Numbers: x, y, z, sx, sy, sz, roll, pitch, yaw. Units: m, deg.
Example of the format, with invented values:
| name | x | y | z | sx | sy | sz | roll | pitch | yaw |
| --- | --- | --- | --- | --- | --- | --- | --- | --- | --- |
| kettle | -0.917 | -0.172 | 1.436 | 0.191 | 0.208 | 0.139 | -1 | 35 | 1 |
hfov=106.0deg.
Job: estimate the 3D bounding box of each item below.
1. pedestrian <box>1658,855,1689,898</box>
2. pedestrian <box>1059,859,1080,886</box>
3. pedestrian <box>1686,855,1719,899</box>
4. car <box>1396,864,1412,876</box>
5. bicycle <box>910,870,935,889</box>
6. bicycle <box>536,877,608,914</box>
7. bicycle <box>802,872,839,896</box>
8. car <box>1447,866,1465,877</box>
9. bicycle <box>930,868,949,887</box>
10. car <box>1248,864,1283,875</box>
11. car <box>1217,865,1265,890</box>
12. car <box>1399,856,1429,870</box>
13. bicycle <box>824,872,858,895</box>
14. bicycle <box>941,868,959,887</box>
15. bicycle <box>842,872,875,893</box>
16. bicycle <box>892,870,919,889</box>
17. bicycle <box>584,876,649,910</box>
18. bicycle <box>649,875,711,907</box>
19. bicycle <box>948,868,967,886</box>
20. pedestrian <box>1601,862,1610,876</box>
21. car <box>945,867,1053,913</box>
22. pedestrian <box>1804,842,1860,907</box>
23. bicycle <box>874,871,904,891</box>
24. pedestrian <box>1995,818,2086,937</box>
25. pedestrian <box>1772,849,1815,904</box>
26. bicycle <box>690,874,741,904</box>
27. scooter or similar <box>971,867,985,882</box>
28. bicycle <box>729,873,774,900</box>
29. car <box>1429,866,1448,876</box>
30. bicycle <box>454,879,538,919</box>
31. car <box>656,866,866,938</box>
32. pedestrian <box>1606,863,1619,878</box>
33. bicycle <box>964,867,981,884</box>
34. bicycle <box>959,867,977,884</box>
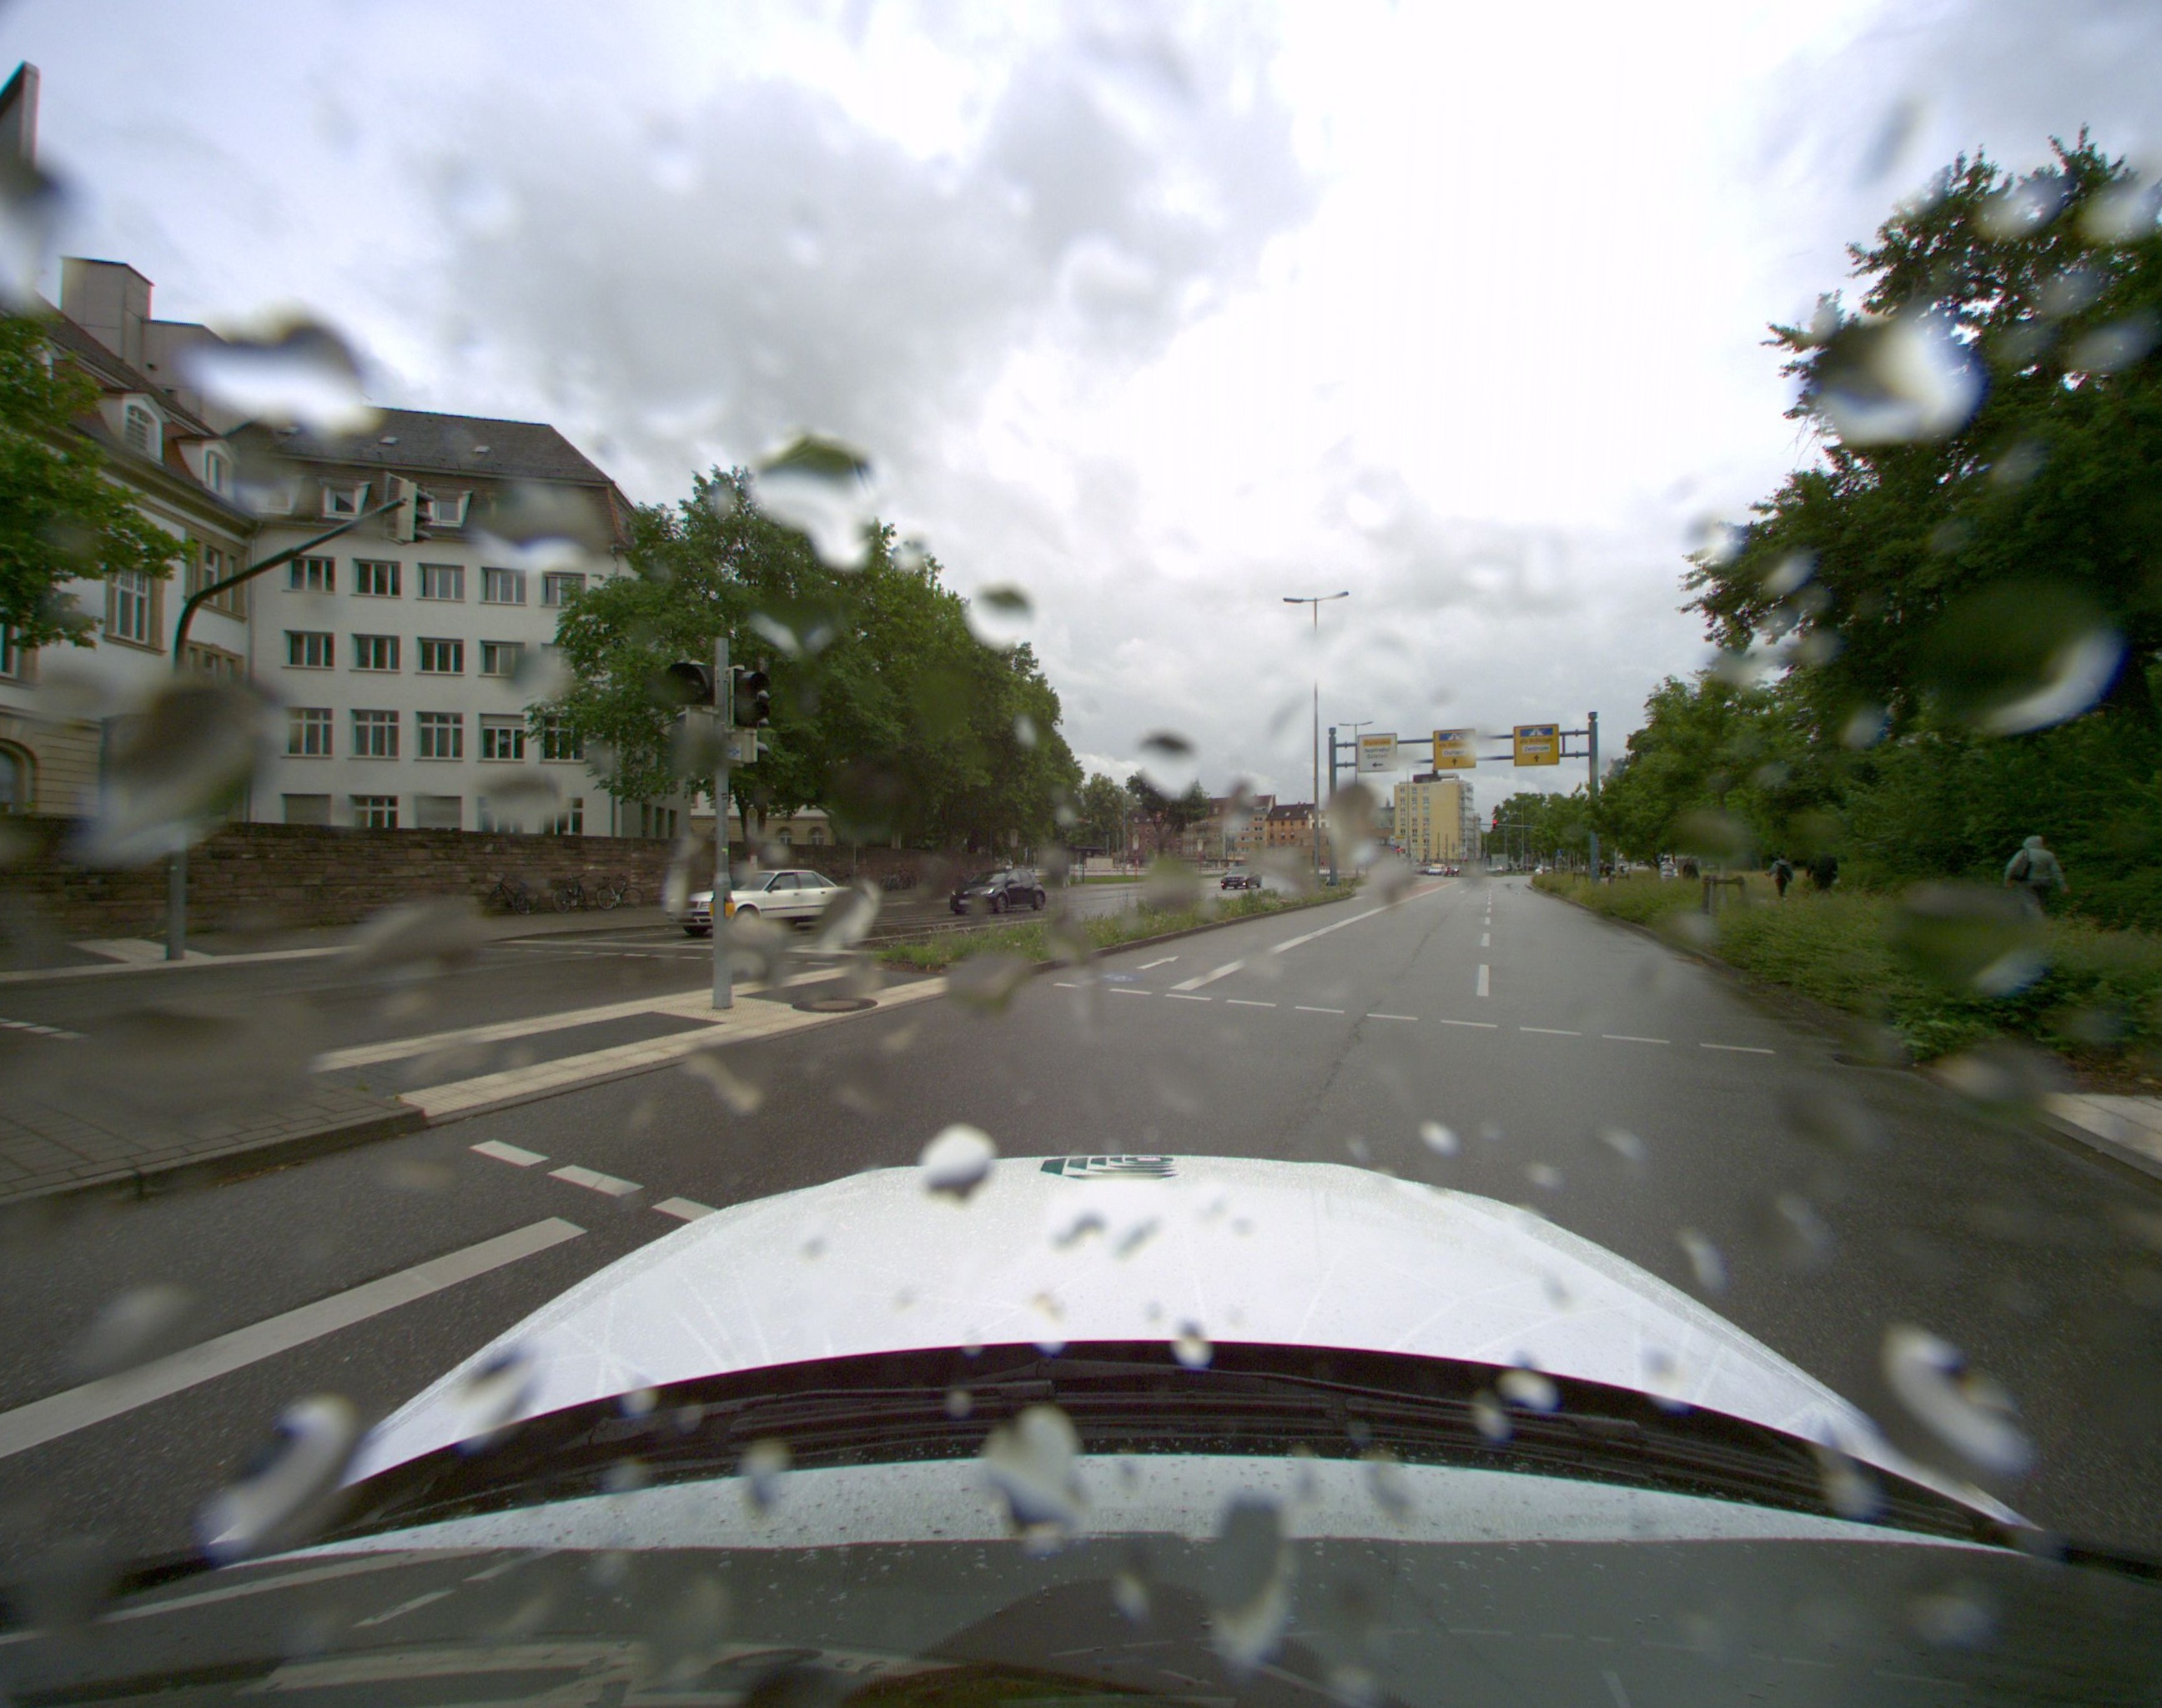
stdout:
| name | x | y | z | sx | sy | sz | roll | pitch | yaw |
| --- | --- | --- | --- | --- | --- | --- | --- | --- | --- |
| pedestrian | 24.433 | 0.914 | 33.577 | 0.924 | 1.720 | 0.834 | 1 | 2 | 30 |
| pedestrian | -0.733 | 1.139 | 50.522 | 0.861 | 1.696 | 1.407 | 0 | -1 | 19 |
| pedestrian | 25.189 | 0.929 | 33.009 | 0.924 | 1.703 | 0.834 | 1 | 2 | 30 |
| car | 48.515 | 2.347 | 122.292 | 1.689 | 1.706 | 3.844 | -1 | -1 | 31 |
| bicycle | -8.940 | 1.425 | 45.949 | 0.726 | 0.983 | 1.708 | 0 | -1 | 15 |
| bicycle | -14.678 | 1.184 | 23.518 | 0.726 | 0.983 | 1.708 | 0 | -1 | 15 |
| bicycle | -11.332 | 1.295 | 35.540 | 0.726 | 0.983 | 1.708 | 0 | -1 | 15 |
| car | 58.266 | 2.721 | 126.396 | 1.974 | 1.636 | 4.631 | -3 | -2 | 32 |
| bicycle | -8.509 | 1.418 | 49.092 | 0.570 | 1.136 | 1.995 | 0 | -1 | 6 |
| car | 23.791 | 1.949 | 105.043 | 4.154 | 1.402 | 1.626 | 0 | -1 | 22 |
| car | 10.717 | 1.567 | 54.289 | 1.791 | 1.540 | 4.732 | -2 | -2 | 29 |
| car | 83.399 | 2.183 | 203.887 | 6.676 | 3.380 | 2.827 | -1 | -1 | 32 |
| bicycle | -10.960 | 1.327 | 37.245 | 0.726 | 0.983 | 1.708 | 0 | -1 | 15 |
| bicycle | -8.284 | 1.468 | 51.503 | 0.570 | 1.136 | 1.995 | 0 | -1 | 6 |
| bicycle | -10.528 | 1.339 | 38.536 | 0.726 | 0.983 | 1.708 | 0 | -1 | 15 |
| bicycle | -9.460 | 1.373 | 43.913 | 0.726 | 0.983 | 1.708 | 0 | -1 | 15 |
| bicycle | -14.362 | 1.201 | 25.232 | 0.726 | 0.983 | 1.708 | 0 | -1 | 15 |
| bicycle | -13.347 | 1.215 | 27.179 | 0.725 | 0.983 | 1.873 | 0 | -1 | 19 |
| bicycle | -8.118 | 1.478 | 53.574 | 0.569 | 1.136 | 1.997 | 0 | -1 | 10 |
| pedestrian | 58.295 | 1.693 | 90.557 | 0.746 | 1.588 | 0.942 | -1 | -1 | 39 |
| car | -2.636 | 1.156 | 27.160 | 1.608 | 1.416 | 4.090 | -2 | -2 | 26 |
| pedestrian | 20.849 | 0.550 | 22.631 | 0.924 | 1.747 | 1.052 | -1 | -1 | 32 |
| bicycle | -9.603 | 1.345 | 40.715 | 0.726 | 0.983 | 1.708 | 0 | -1 | 15 |
| pedestrian | 16.896 | 0.400 | 14.366 | 0.783 | 2.014 | 0.834 | -1 | -1 | 32 |
| pedestrian | 23.644 | 0.731 | 27.035 | 0.924 | 1.797 | 0.834 | -1 | -1 | 32 |
| bicycle | -13.003 | 1.234 | 29.048 | 0.726 | 0.983 | 1.708 | 0 | -1 | 15 |
| scooter or similar | -7.496 | 1.477 | 59.334 | 0.568 | 1.047 | 1.366 | 0 | -1 | 10 |
| bicycle | -12.591 | 1.214 | 31.187 | 0.726 | 0.983 | 1.708 | 0 | -1 | 15 |
| car | 52.848 | 2.499 | 120.333 | 1.663 | 1.404 | 4.184 | -2 | -1 | 35 |
| bicycle | -15.528 | 1.169 | 21.669 | 0.726 | 0.983 | 1.708 | 0 | -1 | 15 |
| car | -7.063 | 1.015 | 18.532 | 1.581 | 1.416 | 4.550 | -2 | -2 | 26 |
| pedestrian | 57.244 | 1.793 | 87.722 | 1.012 | 1.588 | 0.942 | -1 | -1 | 39 |
| bicycle | -7.693 | 1.535 | 57.893 | 0.569 | 1.136 | 1.997 | 0 | -1 | 10 |
| bicycle | -7.739 | 1.488 | 55.827 | 0.569 | 1.136 | 1.997 | 0 | -1 | 10 |
